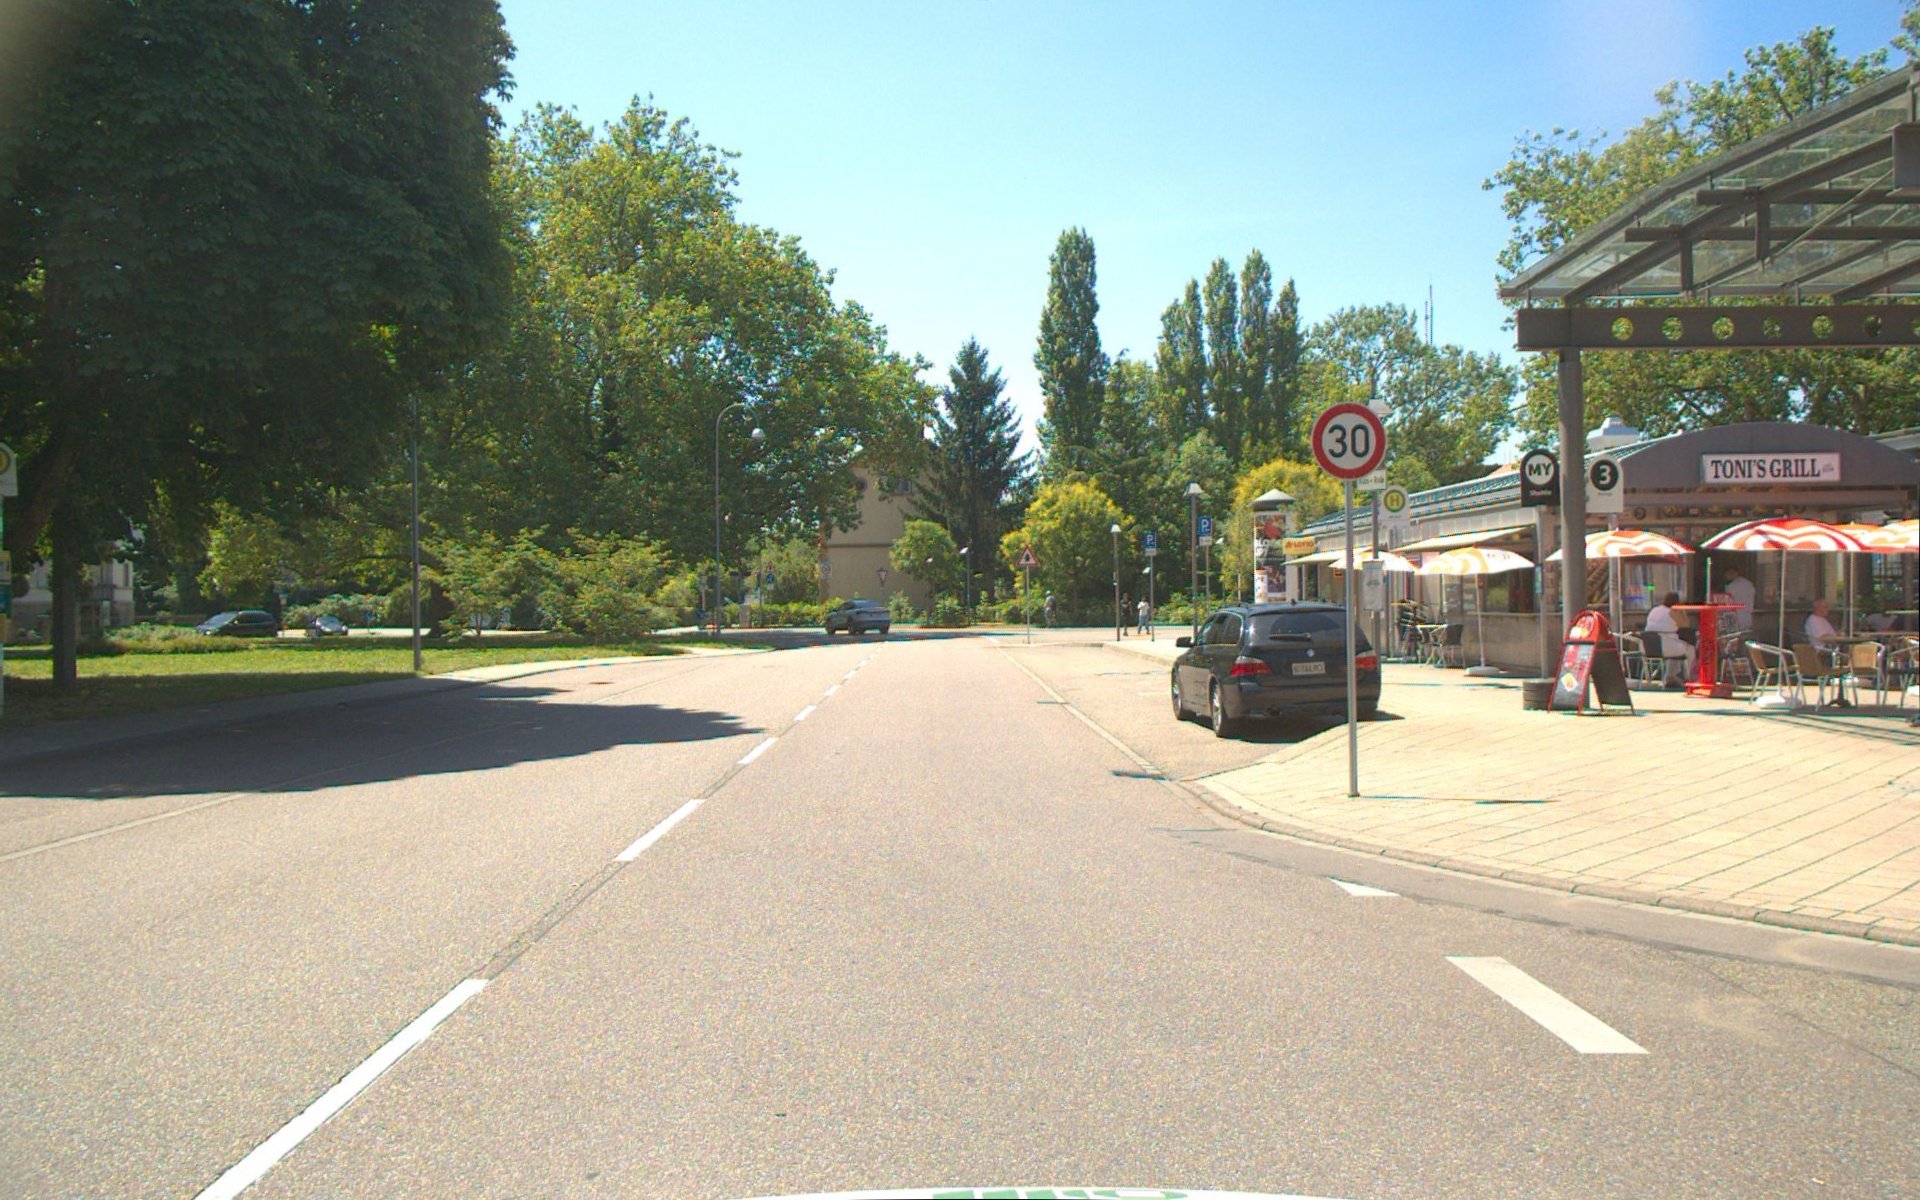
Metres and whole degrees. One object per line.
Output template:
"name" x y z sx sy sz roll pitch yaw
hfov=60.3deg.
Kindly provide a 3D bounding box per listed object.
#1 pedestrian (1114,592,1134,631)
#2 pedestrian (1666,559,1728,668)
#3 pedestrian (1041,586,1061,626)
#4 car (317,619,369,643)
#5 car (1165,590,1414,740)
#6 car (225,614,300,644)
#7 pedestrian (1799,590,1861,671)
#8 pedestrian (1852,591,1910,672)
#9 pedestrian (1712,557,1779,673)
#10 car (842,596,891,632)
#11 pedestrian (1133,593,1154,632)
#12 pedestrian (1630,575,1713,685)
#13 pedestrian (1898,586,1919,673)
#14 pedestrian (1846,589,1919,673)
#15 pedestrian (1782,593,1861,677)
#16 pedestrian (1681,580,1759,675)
"pedestrian" 7.067 0.498 71.360 0.623 1.678 0.750 -1 -2 27
"pedestrian" 12.168 0.224 27.316 0.672 1.768 0.707 -1 0 -1
"pedestrian" 4.531 0.297 82.264 0.836 2.000 0.806 -1 0 18
"car" -36.536 1.833 97.966 1.780 1.333 3.986 -1 0 -4
"car" 3.839 0.706 20.155 1.888 1.486 4.723 -4 0 -2
"car" -36.136 1.502 85.738 1.517 1.435 3.805 -1 0 16
"pedestrian" 13.566 0.475 25.800 0.642 1.226 0.592 1 -1 -2
"pedestrian" 14.367 0.493 25.809 0.641 1.226 0.593 1 -1 15
"pedestrian" 12.272 0.232 25.857 0.672 1.768 0.707 -1 0 -1
"car" -4.610 0.644 80.796 1.946 1.655 4.769 -1 0 -9
"pedestrian" 8.068 0.543 72.883 0.706 1.678 0.750 -1 -2 27
"pedestrian" 9.597 0.393 22.316 0.886 1.442 0.679 -1 0 -39
"pedestrian" 13.972 0.432 23.611 0.743 1.226 0.737 1 -1 -1
"pedestrian" 13.899 0.469 24.877 0.743 1.226 0.737 1 -1 -1
"pedestrian" 12.431 0.495 23.866 0.885 1.181 0.680 -1 0 -36
"pedestrian" 10.996 0.387 23.937 0.885 1.335 0.680 -1 0 -36
